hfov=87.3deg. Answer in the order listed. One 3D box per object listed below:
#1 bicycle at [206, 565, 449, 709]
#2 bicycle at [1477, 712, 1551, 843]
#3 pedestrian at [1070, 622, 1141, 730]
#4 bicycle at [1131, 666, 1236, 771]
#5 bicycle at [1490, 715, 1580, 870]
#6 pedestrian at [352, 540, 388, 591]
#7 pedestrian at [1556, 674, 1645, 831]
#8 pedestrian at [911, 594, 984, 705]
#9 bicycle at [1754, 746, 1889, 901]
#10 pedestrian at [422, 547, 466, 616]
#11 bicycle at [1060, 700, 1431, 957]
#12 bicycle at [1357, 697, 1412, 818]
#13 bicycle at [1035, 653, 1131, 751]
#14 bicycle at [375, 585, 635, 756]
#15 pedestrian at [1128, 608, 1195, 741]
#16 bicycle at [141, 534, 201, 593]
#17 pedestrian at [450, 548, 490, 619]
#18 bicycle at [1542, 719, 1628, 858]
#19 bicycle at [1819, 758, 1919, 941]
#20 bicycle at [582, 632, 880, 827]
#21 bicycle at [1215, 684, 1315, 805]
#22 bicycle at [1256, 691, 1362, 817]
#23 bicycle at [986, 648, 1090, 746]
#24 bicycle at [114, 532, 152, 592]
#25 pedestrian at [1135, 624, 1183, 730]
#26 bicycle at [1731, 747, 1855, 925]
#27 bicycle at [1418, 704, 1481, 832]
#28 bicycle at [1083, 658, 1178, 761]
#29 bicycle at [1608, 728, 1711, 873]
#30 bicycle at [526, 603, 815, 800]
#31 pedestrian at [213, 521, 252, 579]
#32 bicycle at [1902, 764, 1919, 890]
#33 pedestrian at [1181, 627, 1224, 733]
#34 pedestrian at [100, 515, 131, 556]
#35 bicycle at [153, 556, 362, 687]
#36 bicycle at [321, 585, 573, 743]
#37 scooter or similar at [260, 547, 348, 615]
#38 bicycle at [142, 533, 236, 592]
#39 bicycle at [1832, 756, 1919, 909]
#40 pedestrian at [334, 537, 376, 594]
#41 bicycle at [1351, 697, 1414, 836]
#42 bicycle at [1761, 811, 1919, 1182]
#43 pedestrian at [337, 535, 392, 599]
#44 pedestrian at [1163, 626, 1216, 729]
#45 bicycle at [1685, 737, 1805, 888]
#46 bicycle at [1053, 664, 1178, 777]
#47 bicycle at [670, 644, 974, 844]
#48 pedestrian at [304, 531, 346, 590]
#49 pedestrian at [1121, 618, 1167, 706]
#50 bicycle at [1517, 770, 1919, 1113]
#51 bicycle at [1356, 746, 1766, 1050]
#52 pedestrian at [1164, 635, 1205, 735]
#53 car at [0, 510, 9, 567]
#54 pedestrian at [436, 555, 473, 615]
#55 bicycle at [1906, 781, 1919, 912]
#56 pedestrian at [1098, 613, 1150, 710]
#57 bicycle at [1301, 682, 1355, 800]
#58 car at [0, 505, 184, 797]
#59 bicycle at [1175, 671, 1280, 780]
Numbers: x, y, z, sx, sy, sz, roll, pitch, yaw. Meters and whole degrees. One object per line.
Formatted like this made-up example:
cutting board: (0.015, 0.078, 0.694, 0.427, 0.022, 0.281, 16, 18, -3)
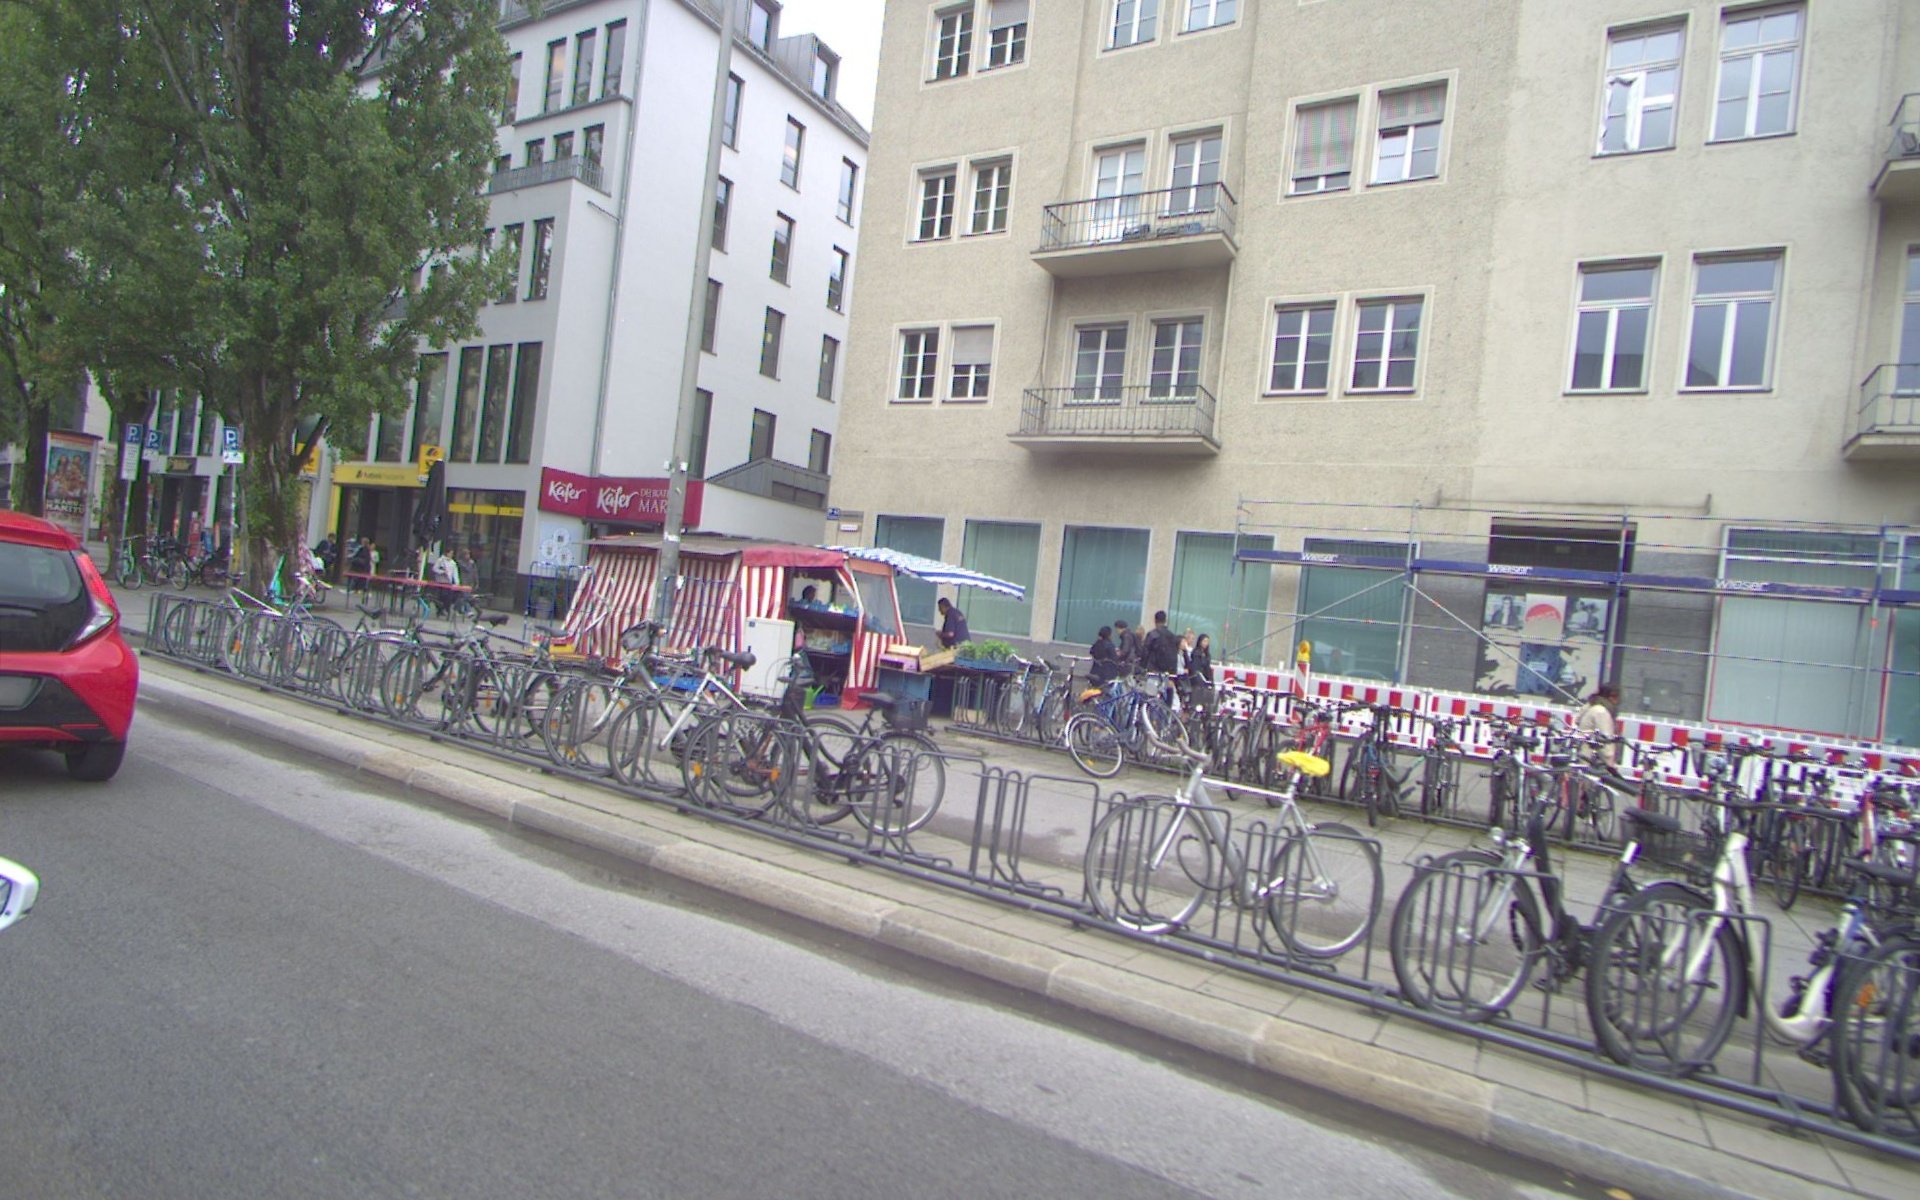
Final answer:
bicycle: (-6.054, 0.369, 9.740, 1.778, 1.065, 0.544, 11, -2, -20)
bicycle: (5.503, 1.725, 10.049, 0.403, 1.091, 1.452, 6, 0, 23)
pedestrian: (2.236, 1.158, 15.442, 0.718, 1.547, 0.677, 6, 0, 34)
bicycle: (2.662, 1.377, 11.887, 0.404, 1.117, 1.626, 6, 0, 40)
bicycle: (4.937, 1.605, 8.694, 0.403, 1.091, 1.452, 6, 0, 23)
pedestrian: (-19.098, -1.128, 32.564, 0.761, 1.554, 0.701, 5, 1, -41)
pedestrian: (7.053, 1.651, 11.103, 0.527, 1.602, 0.662, 6, 0, 18)
pedestrian: (-0.198, 0.807, 16.320, 0.717, 1.694, 0.794, 6, 0, 31)
bicycle: (7.623, 1.935, 8.960, 0.403, 1.091, 1.452, 6, 0, 23)
pedestrian: (-12.684, -0.451, 24.713, 0.626, 1.603, 0.641, 7, 1, 40)
bicycle: (1.453, 1.156, 5.025, 1.778, 1.021, 0.385, 11, -2, -20)
bicycle: (4.534, 1.638, 10.745, 0.403, 1.091, 1.452, 6, 0, 23)
bicycle: (1.563, 1.248, 12.538, 0.403, 1.117, 1.629, 6, 0, 34)
bicycle: (-3.728, 0.592, 8.396, 1.778, 1.117, 0.544, 11, -2, -20)
pedestrian: (3.014, 1.099, 15.006, 0.716, 1.851, 0.718, 6, 0, 18)
bicycle: (-17.894, -0.841, 22.798, 1.607, 1.174, 0.478, 6, 0, 33)
pedestrian: (-12.351, -0.415, 25.362, 0.588, 1.723, 0.578, 7, 1, 40)
bicycle: (6.013, 1.773, 9.735, 0.403, 1.091, 1.534, 6, 0, 24)
bicycle: (6.922, 1.815, 7.515, 0.403, 1.091, 1.526, 6, 0, 30)
bicycle: (-1.517, 0.878, 6.797, 1.776, 1.021, 0.385, 11, -2, -16)
bicycle: (3.111, 1.423, 10.182, 0.404, 1.091, 1.478, 6, 0, 37)
bicycle: (3.424, 1.459, 9.803, 0.404, 1.091, 1.446, 6, 0, 39)
bicycle: (1.014, 1.211, 12.692, 0.404, 1.117, 1.628, 6, 0, 37)
bicycle: (-17.759, -0.830, 21.593, 0.475, 1.174, 1.804, 7, -1, -41)
pedestrian: (3.116, 1.195, 15.809, 0.542, 1.584, 0.654, 6, 0, 9)
bicycle: (6.442, 1.771, 7.838, 0.403, 1.091, 1.537, 6, 0, 30)
bicycle: (4.981, 1.672, 10.288, 0.403, 1.091, 1.452, 6, 0, 23)
bicycle: (2.073, 1.290, 12.084, 0.403, 1.117, 1.629, 6, 0, 34)
bicycle: (6.498, 1.817, 9.403, 0.403, 1.091, 1.534, 6, 0, 24)
bicycle: (-2.054, 0.731, 7.242, 1.778, 1.117, 0.544, 11, -2, -20)
pedestrian: (-22.889, -1.562, 31.662, 0.711, 1.746, 0.736, 6, 1, -21)
bicycle: (8.607, 2.034, 8.486, 0.403, 1.091, 1.452, 6, 0, 23)
pedestrian: (4.040, 1.324, 16.717, 0.464, 1.692, 0.527, 6, -1, 21)
pedestrian: (-34.663, -2.648, 41.307, 0.664, 1.596, 0.565, 6, 1, 9)
bicycle: (-7.254, 0.234, 10.467, 1.556, 1.065, 0.544, 11, -2, -20)
bicycle: (-4.383, 0.567, 8.718, 1.778, 1.065, 0.366, 11, -2, -20)
scooter or similar: (-12.722, -0.347, 19.553, 0.393, 1.222, 1.470, 6, 0, 14)
bicycle: (-18.461, -0.894, 24.101, 0.696, 1.174, 1.624, 7, -1, 45)
bicycle: (8.198, 1.996, 8.747, 0.403, 1.091, 1.452, 6, 0, 23)
pedestrian: (-18.340, -1.039, 30.490, 0.760, 1.604, 0.691, 7, 0, 32)
bicycle: (3.954, 1.510, 9.420, 0.403, 1.091, 1.452, 6, 0, 23)
bicycle: (3.782, 1.430, 3.524, 1.824, 1.070, 0.396, 10, -2, -13)
pedestrian: (-16.988, -0.935, 28.709, 1.005, 1.657, 0.802, 6, 0, 24)
pedestrian: (3.943, 1.328, 17.267, 0.537, 1.693, 0.500, 8, -2, -39)
bicycle: (7.103, 1.881, 9.160, 0.403, 1.091, 1.452, 6, 0, 23)
bicycle: (1.676, 1.272, 10.703, 1.464, 1.091, 0.405, 6, 1, -43)
bicycle: (-0.875, 0.944, 6.514, 1.778, 1.021, 0.385, 11, -2, -20)
pedestrian: (-19.379, -1.211, 30.718, 0.785, 1.669, 0.691, 7, 0, 32)
pedestrian: (3.582, 1.195, 19.533, 0.598, 1.623, 0.465, 7, 1, 29)
bicycle: (3.191, 1.363, 3.985, 1.824, 1.070, 0.396, 10, -2, -13)
bicycle: (2.636, 1.308, 4.366, 1.778, 1.070, 0.396, 11, -2, -20)
pedestrian: (3.648, 1.375, 16.372, 0.457, 1.558, 0.561, 6, -1, 9)
car: (-17.500, -0.964, 16.653, 4.084, 1.470, 1.727, 6, -3, 36)
pedestrian: (-13.484, -0.394, 26.841, 0.640, 1.493, 0.757, 7, -1, -20)
bicycle: (7.536, 1.902, 7.385, 0.403, 1.091, 1.659, 6, 0, 30)
pedestrian: (3.020, 1.121, 18.495, 0.750, 1.671, 0.603, 6, 0, 10)
bicycle: (4.101, 1.510, 11.148, 0.403, 1.117, 1.633, 6, 0, 22)
car: (-6.339, 0.115, 5.940, 3.539, 1.463, 1.667, 5, -2, 34)
bicycle: (3.069, 1.407, 11.454, 0.404, 1.117, 1.626, 6, 0, 40)
